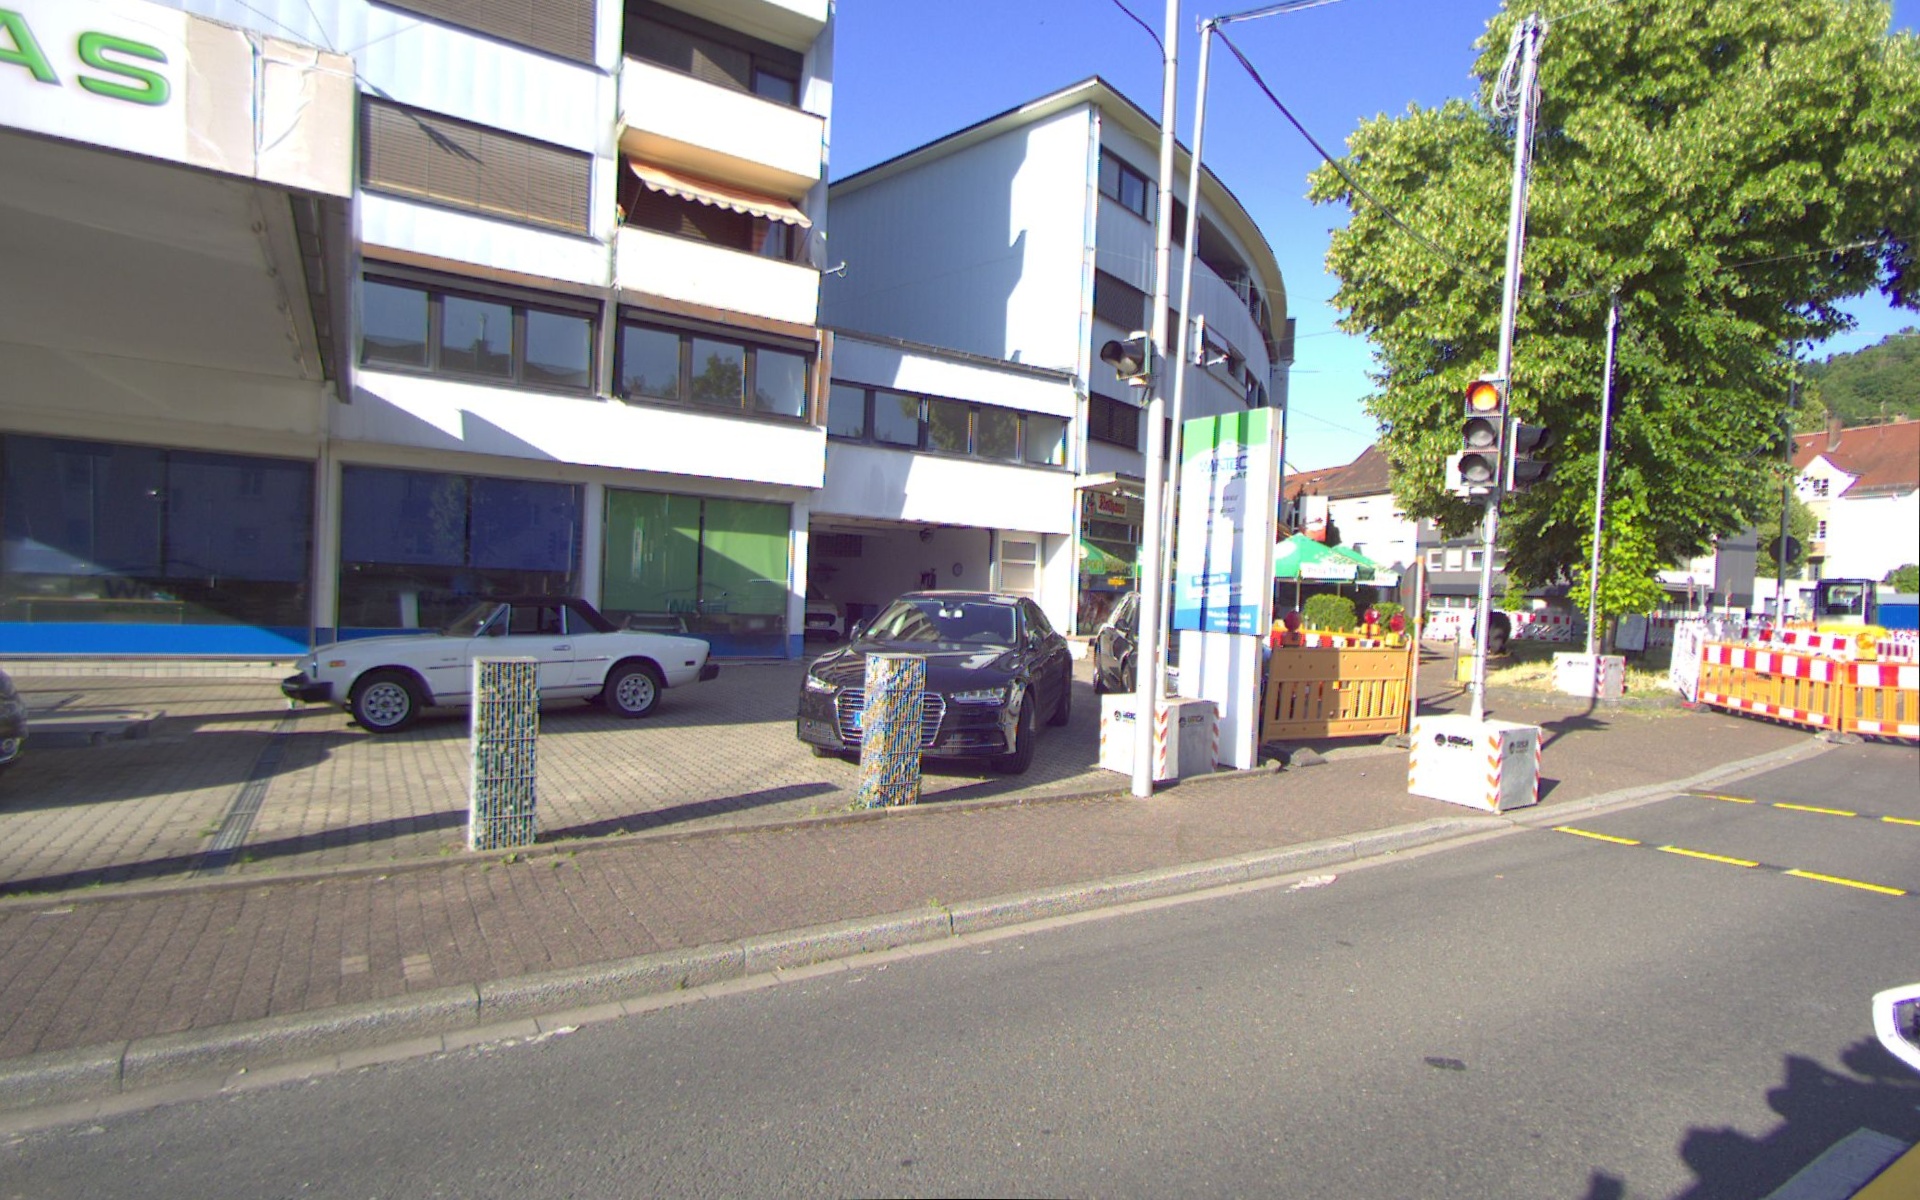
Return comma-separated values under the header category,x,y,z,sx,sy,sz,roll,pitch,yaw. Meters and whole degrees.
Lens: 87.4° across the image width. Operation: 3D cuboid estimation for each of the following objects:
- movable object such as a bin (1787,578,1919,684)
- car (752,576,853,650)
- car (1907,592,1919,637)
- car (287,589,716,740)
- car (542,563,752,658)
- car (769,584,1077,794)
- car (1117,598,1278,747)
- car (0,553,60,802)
category,x,y,z,sx,sy,sz,roll,pitch,yaw
movable object such as a bin,21.548,0.708,24.125,3.882,2.356,1.635,1,0,-36
car,-3.899,0.259,24.377,1.550,1.629,3.734,2,1,-23
car,49.506,0.799,48.439,6.043,2.149,2.586,2,0,-12
car,-4.679,0.596,10.483,3.865,1.315,1.511,1,-1,-35
car,-6.105,0.223,19.706,3.593,1.695,1.707,2,0,-34
car,-0.029,0.654,9.567,1.893,1.457,4.692,1,-1,11
car,2.754,0.750,12.077,1.564,1.457,3.887,1,0,11
car,-7.485,0.412,5.855,3.305,1.506,1.543,2,0,8
